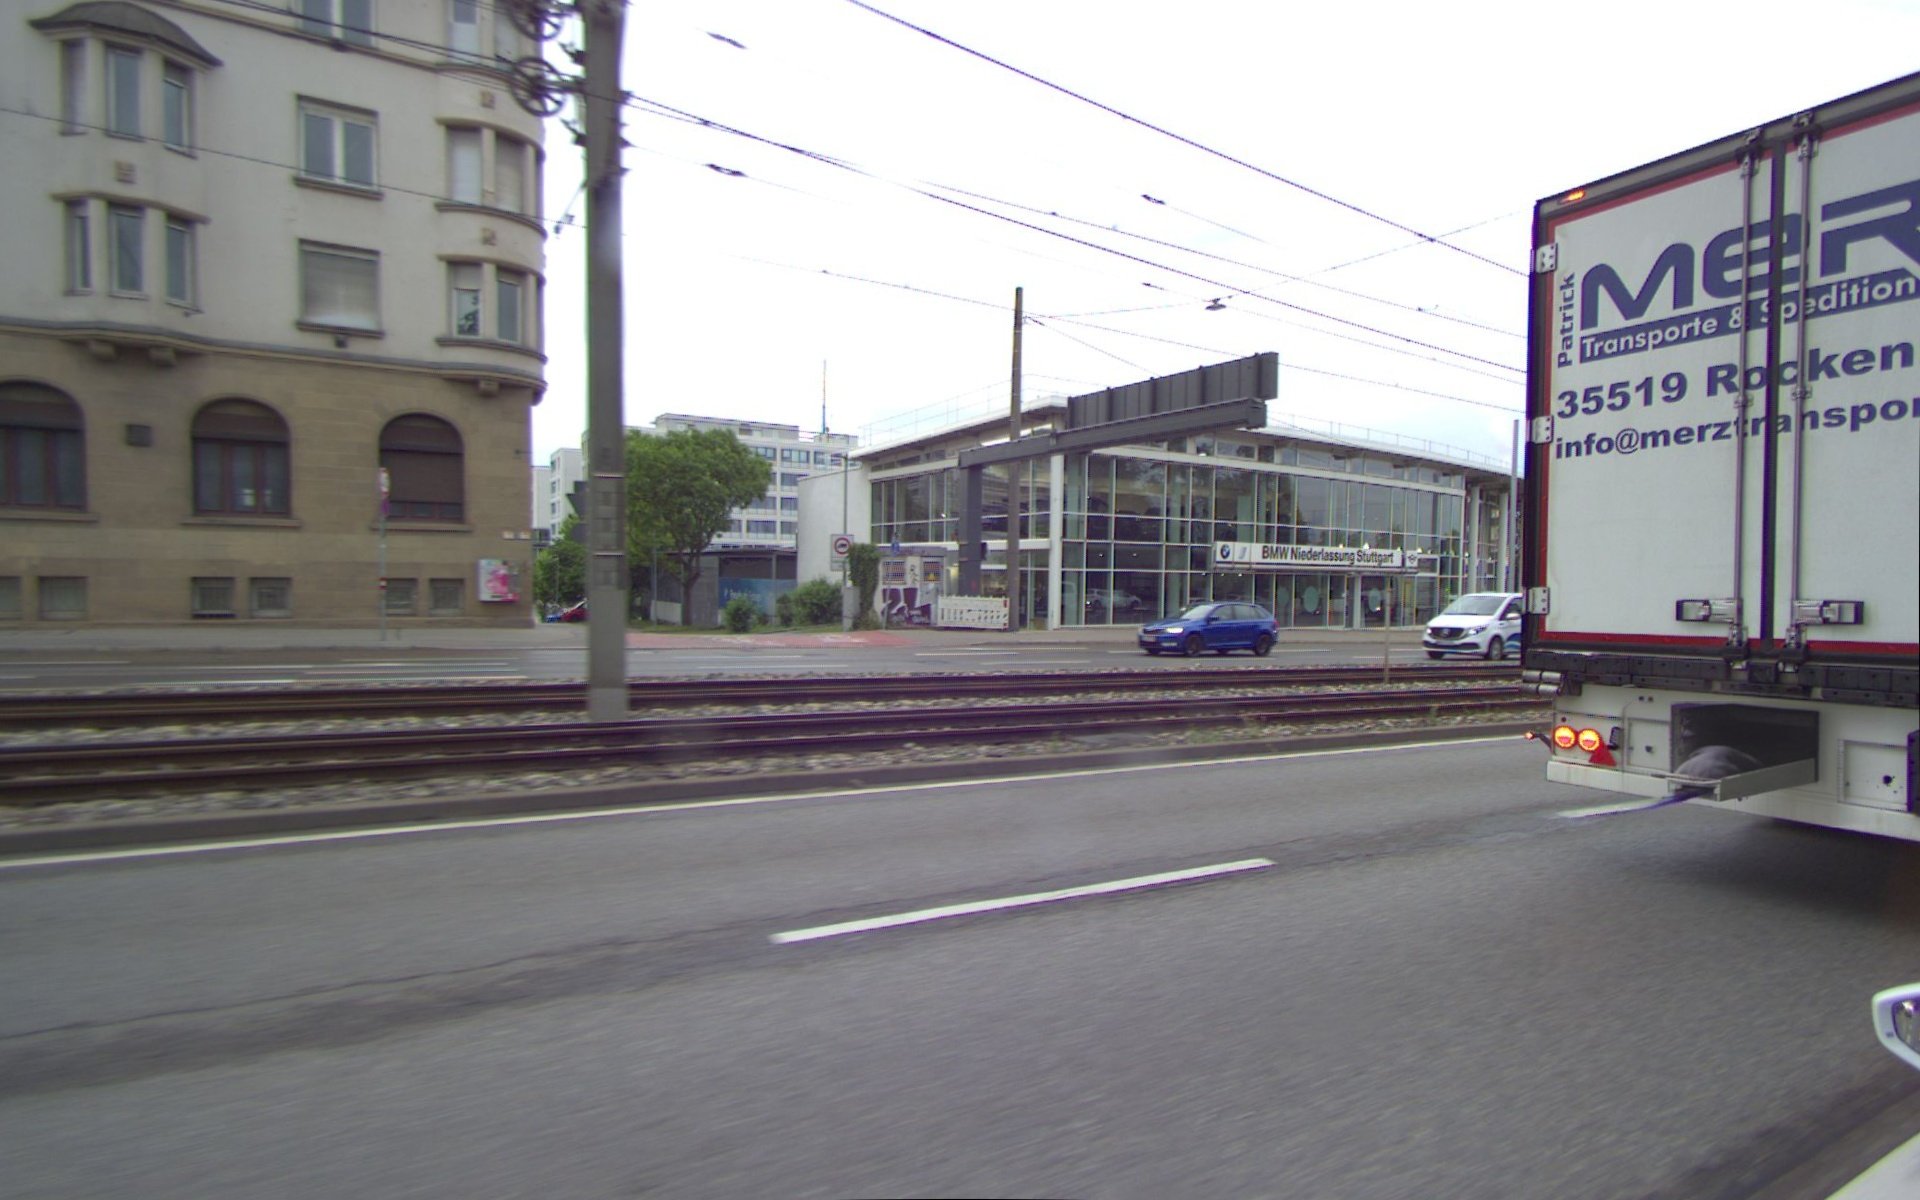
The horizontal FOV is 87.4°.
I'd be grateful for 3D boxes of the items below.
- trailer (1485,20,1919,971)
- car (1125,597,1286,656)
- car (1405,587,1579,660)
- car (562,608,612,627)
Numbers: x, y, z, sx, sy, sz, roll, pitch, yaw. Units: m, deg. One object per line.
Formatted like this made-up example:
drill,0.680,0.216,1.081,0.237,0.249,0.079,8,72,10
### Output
trailer,9.612,-0.368,8.456,13.029,4.309,2.749,1,0,-31
car,6.624,0.708,26.937,4.281,1.452,1.598,1,1,-30
car,15.221,0.650,28.665,5.133,1.899,1.983,1,1,-31
car,-30.748,1.458,82.734,3.608,1.423,1.703,2,0,-30
